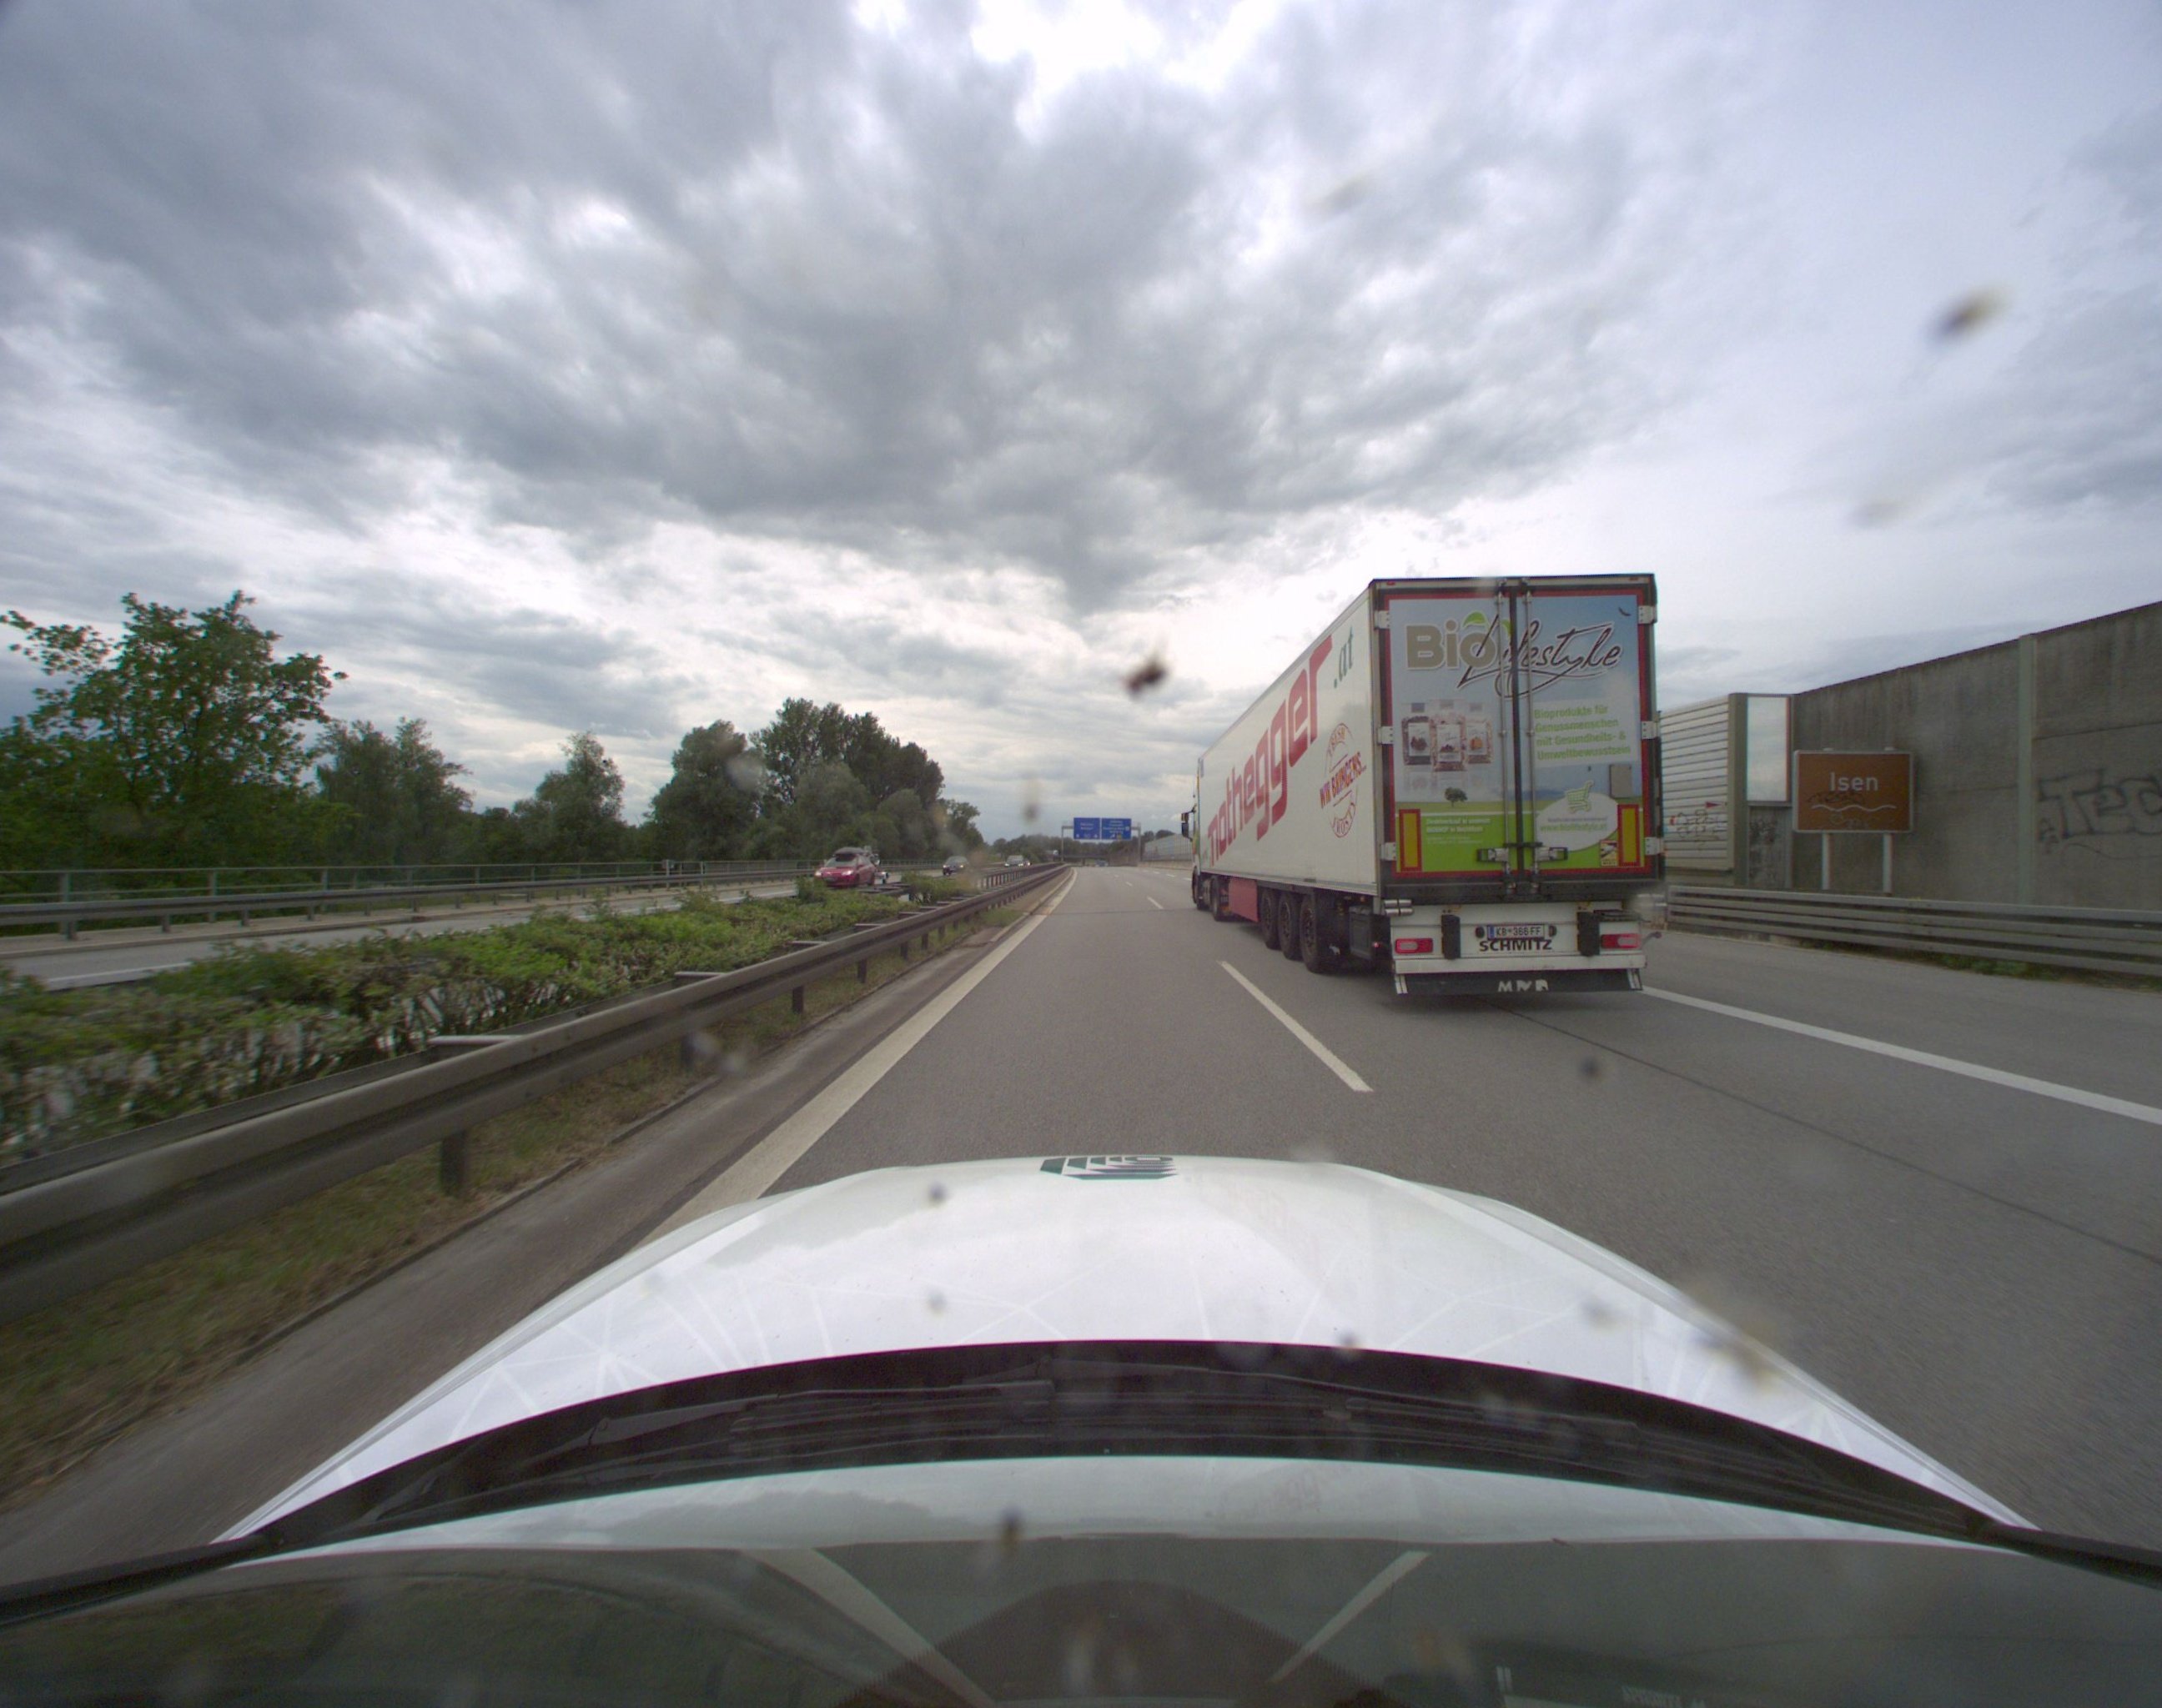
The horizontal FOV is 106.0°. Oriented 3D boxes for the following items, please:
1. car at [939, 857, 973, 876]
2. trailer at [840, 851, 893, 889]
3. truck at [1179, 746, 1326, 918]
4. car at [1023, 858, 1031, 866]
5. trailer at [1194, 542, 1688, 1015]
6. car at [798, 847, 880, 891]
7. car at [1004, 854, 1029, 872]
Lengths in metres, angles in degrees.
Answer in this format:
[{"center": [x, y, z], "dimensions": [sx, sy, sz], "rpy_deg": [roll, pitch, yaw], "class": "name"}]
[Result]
[{"center": [-10.040, 0.968, 65.671], "dimensions": [1.963, 1.403, 4.710], "rpy_deg": [-2, 0, 1], "class": "car"}, {"center": [-10.348, 0.744, 39.532], "dimensions": [1.642, 1.748, 3.376], "rpy_deg": [0, 0, 1], "class": "trailer"}, {"center": [4.339, -0.510, 21.800], "dimensions": [2.746, 3.959, 5.677], "rpy_deg": [-1, 0, 1], "class": "truck"}, {"center": [-15.042, 2.267, 225.969], "dimensions": [1.989, 2.003, 4.739], "rpy_deg": [0, -1, -2], "class": "car"}, {"center": [4.183, -0.665, 14.336], "dimensions": [2.782, 4.174, 14.108], "rpy_deg": [-1, 0, 2], "class": "trailer"}, {"center": [-10.362, 0.608, 35.265], "dimensions": [1.963, 1.761, 4.945], "rpy_deg": [-1, 0, 1], "class": "car"}, {"center": [-5.903, 0.779, 74.804], "dimensions": [1.835, 1.531, 4.836], "rpy_deg": [-2, 0, 1], "class": "car"}]
